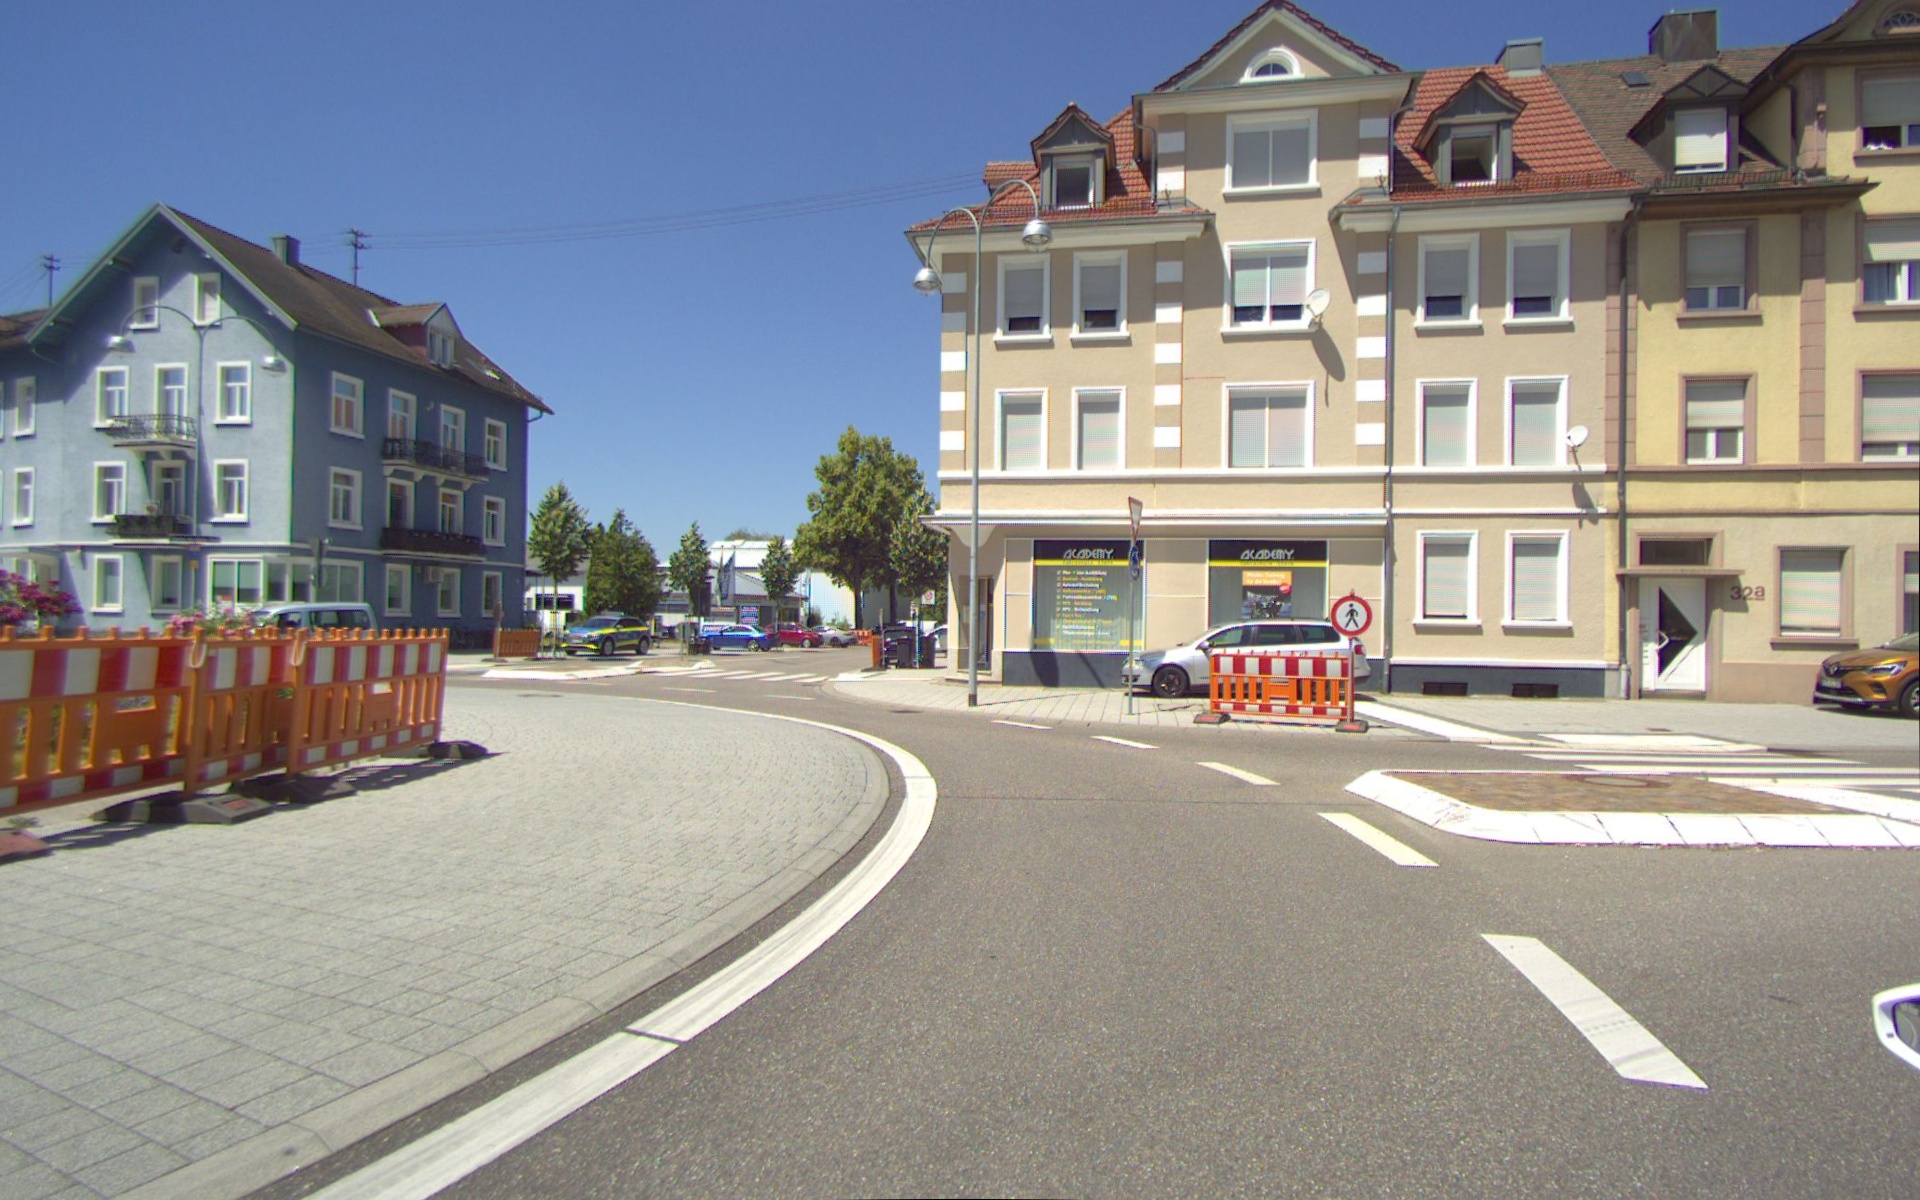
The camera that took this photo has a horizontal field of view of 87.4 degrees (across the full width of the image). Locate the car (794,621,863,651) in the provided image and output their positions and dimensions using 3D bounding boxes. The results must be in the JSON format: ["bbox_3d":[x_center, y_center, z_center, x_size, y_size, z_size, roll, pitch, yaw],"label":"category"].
[{"bbox_3d":[-8.491,2.341,64.938,3.919,1.851,2.002,1,-2,11],"label":"car"}]

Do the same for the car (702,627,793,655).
[{"bbox_3d":[-11.096,2.137,52.566,4.195,1.416,2.002,1,-2,7],"label":"car"}]

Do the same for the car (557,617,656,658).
[{"bbox_3d":[-14.574,1.563,41.705,1.624,1.590,4.506,0,-2,14],"label":"car"}]

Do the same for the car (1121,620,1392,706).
[{"bbox_3d":[5.617,1.167,19.561,4.845,1.523,1.801,0,0,10],"label":"car"}]

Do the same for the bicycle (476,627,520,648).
[{"bbox_3d":[-20.750,1.675,45.154,0.600,0.923,2.088,0,-2,16],"label":"bicycle"}]

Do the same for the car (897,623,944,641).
[{"bbox_3d":[-3.530,2.866,89.975,3.919,1.483,2.002,1,-2,8],"label":"car"}]

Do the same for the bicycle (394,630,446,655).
[{"bbox_3d":[-21.458,1.684,39.952,0.600,0.923,2.088,0,-2,12],"label":"bicycle"}]

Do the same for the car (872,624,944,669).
[{"bbox_3d":[-1.928,1.764,38.810,1.959,1.599,4.003,1,-2,9],"label":"car"}]

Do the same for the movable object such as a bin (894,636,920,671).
[{"bbox_3d":[-1.788,1.816,34.128,0.783,1.164,0.817,1,-2,3],"label":"movable object such as a bin"}]

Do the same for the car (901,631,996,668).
[{"bbox_3d":[-0.498,2.307,47.641,4.194,1.647,2.002,1,-2,9],"label":"car"}]

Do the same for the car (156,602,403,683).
[{"bbox_3d":[-16.296,1.015,24.266,1.969,1.760,4.548,0,-2,39],"label":"car"}]

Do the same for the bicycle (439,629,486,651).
[{"bbox_3d":[-21.236,1.697,42.934,0.600,0.923,2.088,0,-2,12],"label":"bicycle"}]

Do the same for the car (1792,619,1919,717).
[{"bbox_3d":[16.937,1.131,16.992,4.031,1.562,1.801,0,0,10],"label":"car"}]

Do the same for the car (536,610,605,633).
[{"bbox_3d":[-26.798,1.474,69.189,3.919,1.483,2.002,1,-2,13],"label":"car"}]

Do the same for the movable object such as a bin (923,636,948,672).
[{"bbox_3d":[-0.830,1.824,34.154,0.783,1.164,0.817,1,-2,3],"label":"movable object such as a bin"}]

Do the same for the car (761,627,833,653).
[{"bbox_3d":[-10.144,2.486,62.530,3.919,1.483,2.002,1,-2,13],"label":"car"}]
